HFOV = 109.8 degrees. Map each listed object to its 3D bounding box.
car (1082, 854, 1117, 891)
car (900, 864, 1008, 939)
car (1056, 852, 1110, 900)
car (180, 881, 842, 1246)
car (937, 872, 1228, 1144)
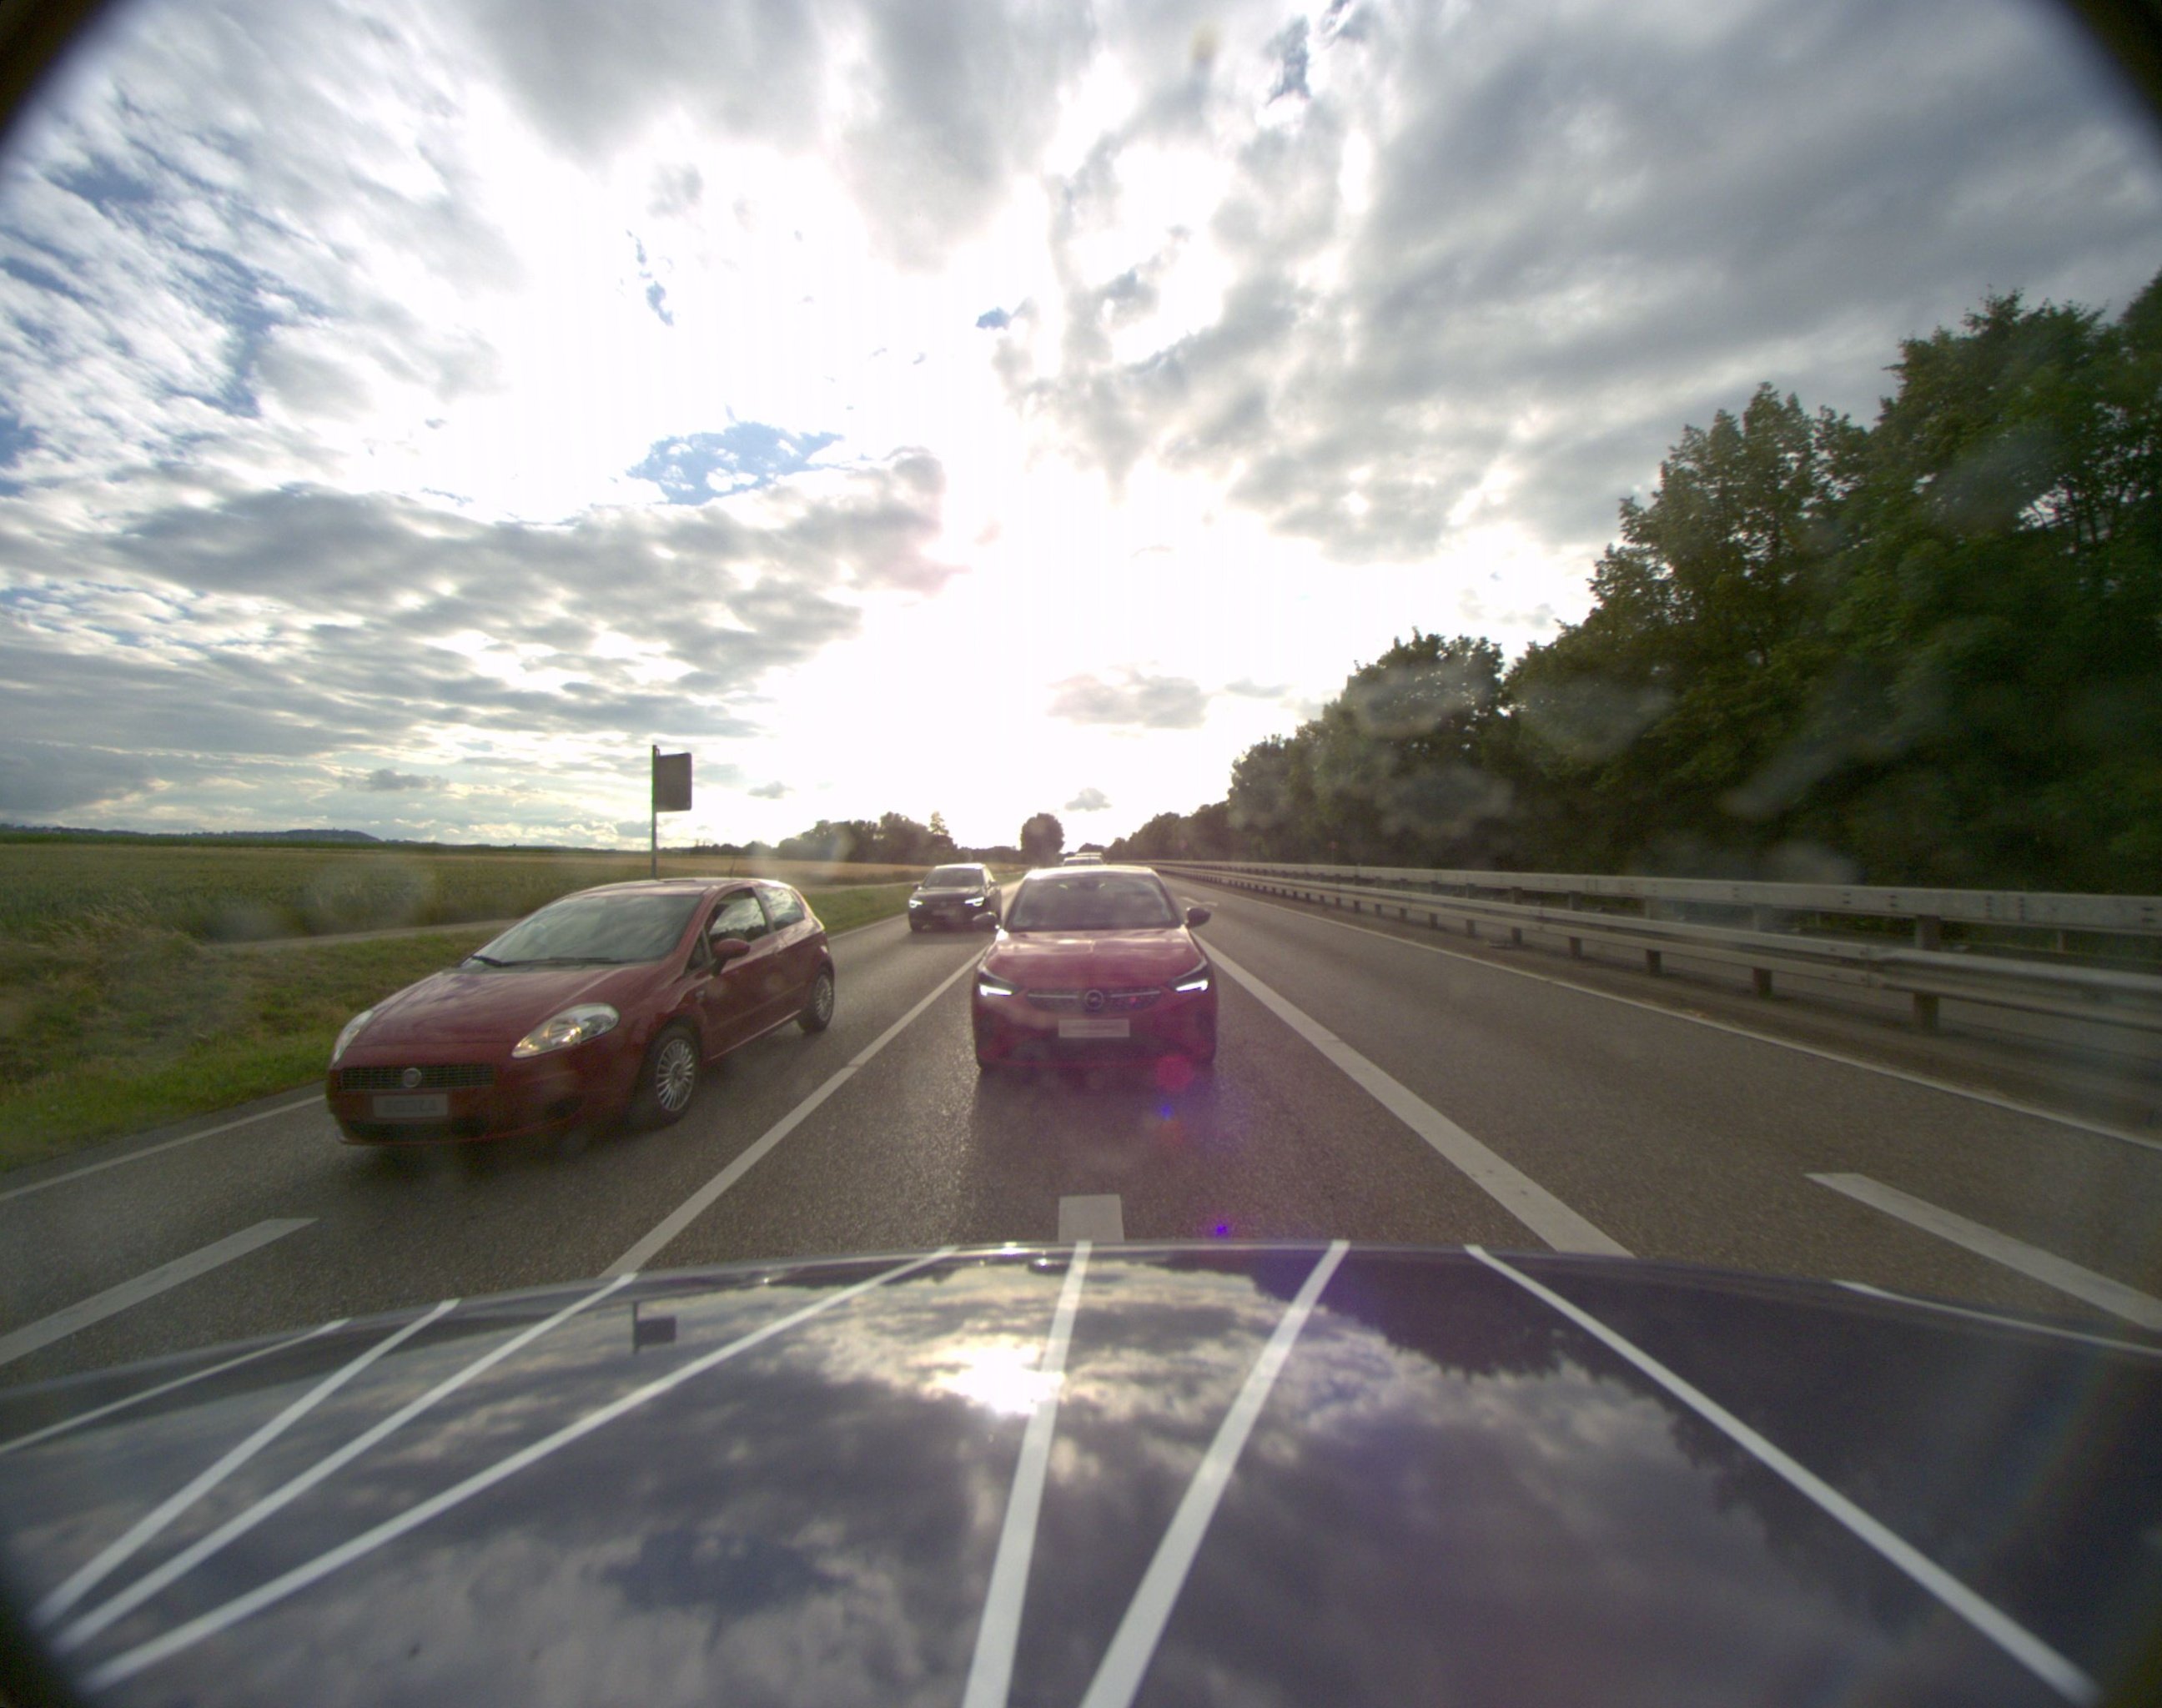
[{"bbox_3d":[0.959,0.932,39.738,1.671,1.730,4.032,-2,1,1],"label":"car"},{"bbox_3d":[-2.906,1.038,18.273,1.799,1.448,4.032,-2,1,1],"label":"car"},{"bbox_3d":[0.086,0.716,26.909,1.712,1.448,4.061,-2,1,1],"label":"car"},{"bbox_3d":[-3.251,1.044,5.474,1.712,1.448,3.908,-2,1,1],"label":"car"},{"bbox_3d":[0.039,0.991,6.656,1.712,1.448,4.061,-2,1,1],"label":"car"}]
